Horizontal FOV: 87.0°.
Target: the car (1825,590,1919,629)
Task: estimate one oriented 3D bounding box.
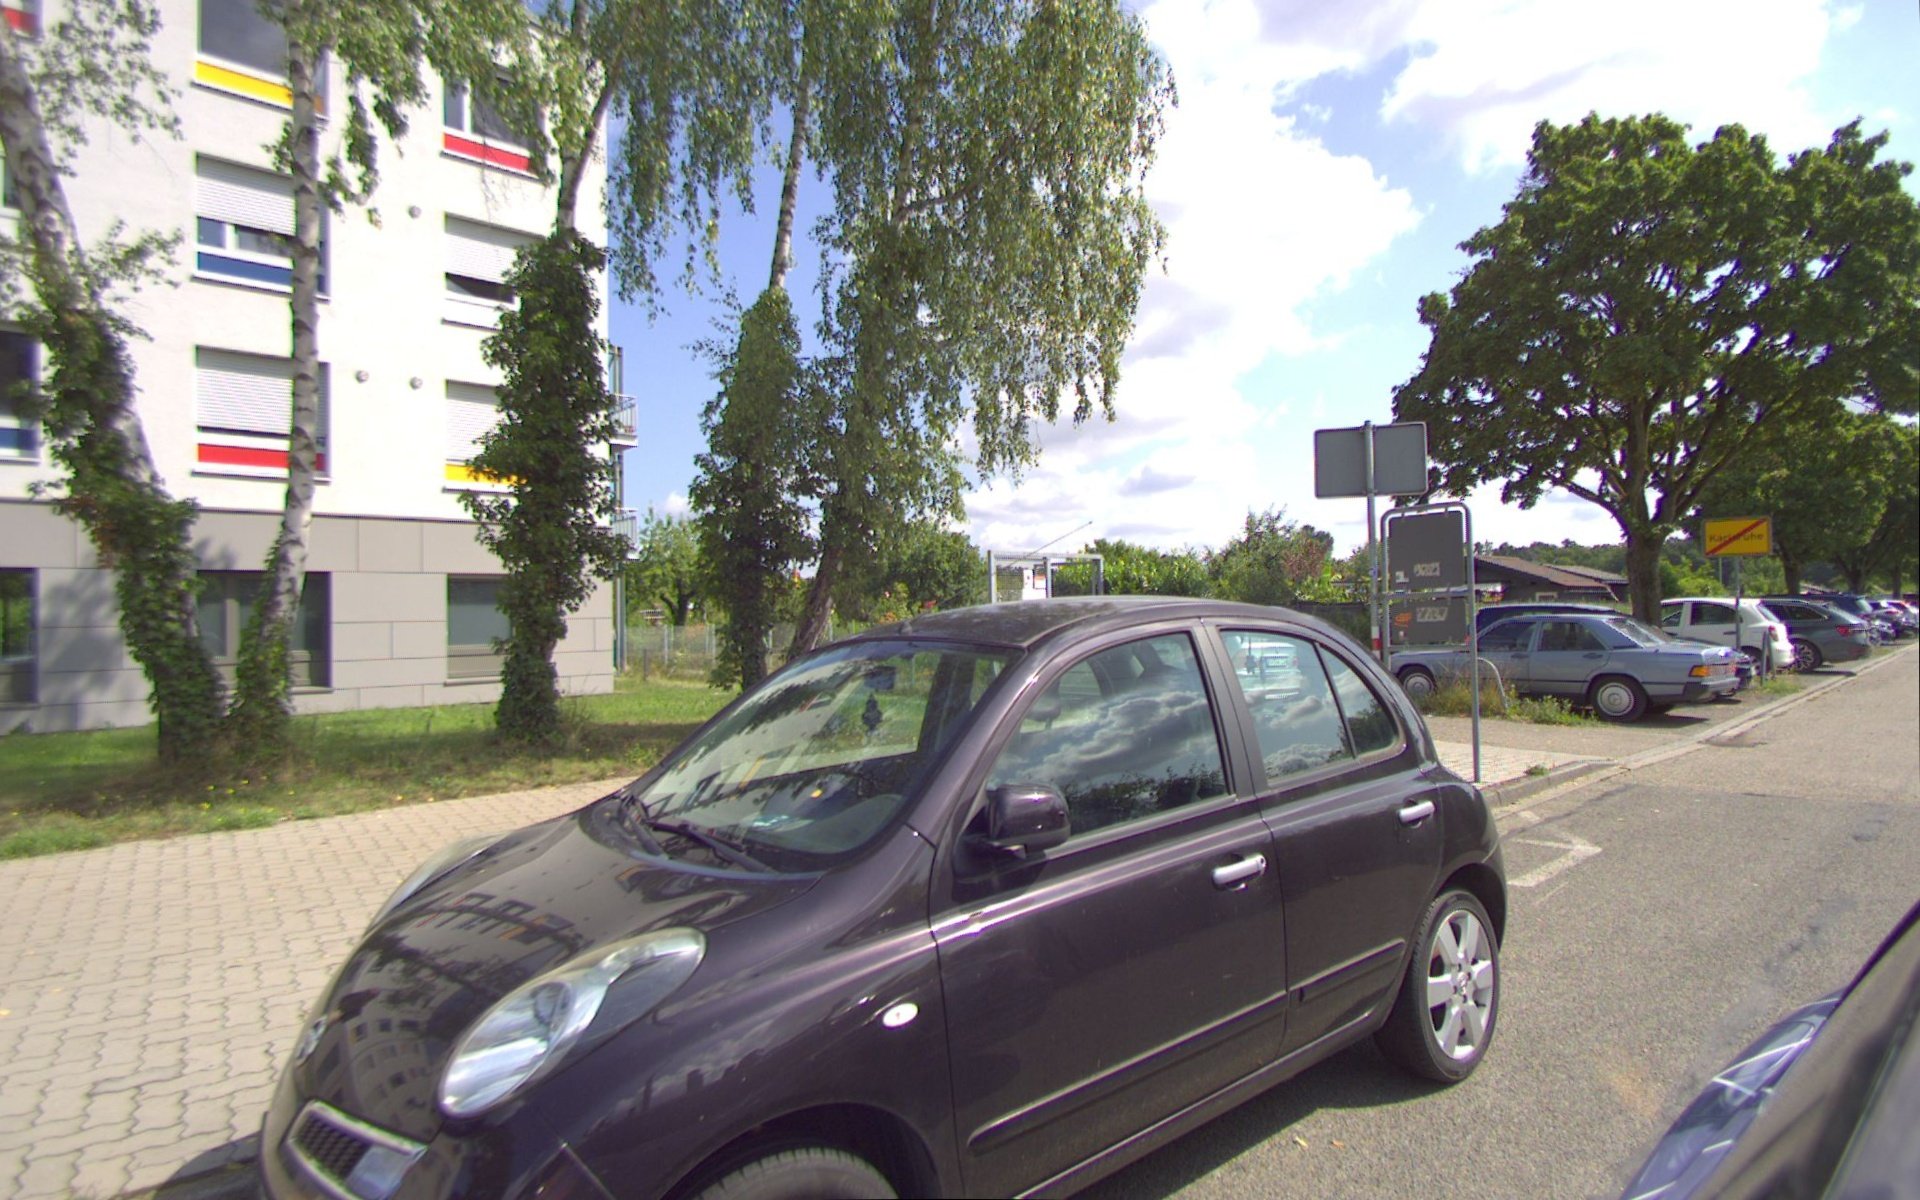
[{"bbox_3d":[38.461,0.362,41.705,1.839,1.474,4.067,-1,-2,-44],"label":"car"}]

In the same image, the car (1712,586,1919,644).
[{"bbox_3d":[24.767,0.465,29.404,1.942,1.511,4.339,-1,-2,-42],"label":"car"}]

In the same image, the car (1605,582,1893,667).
[{"bbox_3d":[16.420,0.557,21.247,4.548,1.599,1.780,-4,-2,45],"label":"car"}]

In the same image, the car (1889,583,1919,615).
[{"bbox_3d":[59.486,-0.083,61.282,2.076,1.910,4.638,0,0,-43],"label":"car"}]

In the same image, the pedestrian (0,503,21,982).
[{"bbox_3d":[-3.825,0.523,3.501,0.707,1.768,0.613,-1,-2,-29],"label":"pedestrian"}]

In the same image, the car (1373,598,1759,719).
[{"bbox_3d":[8.330,0.716,14.302,1.687,1.409,4.369,-1,0,-38],"label":"car"}]

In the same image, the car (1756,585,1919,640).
[{"bbox_3d":[28.852,0.420,32.951,1.966,1.614,4.306,-1,-2,-42],"label":"car"}]

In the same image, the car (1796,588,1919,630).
[{"bbox_3d":[35.676,0.356,39.710,1.923,1.531,4.072,-1,-2,-39],"label":"car"}]

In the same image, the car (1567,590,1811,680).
[{"bbox_3d":[14.079,0.688,19.663,1.640,1.569,3.574,-1,-2,-45],"label":"car"}]

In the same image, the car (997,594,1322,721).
[{"bbox_3d":[2.613,0.665,14.051,1.729,1.448,4.246,-1,1,-42],"label":"car"}]

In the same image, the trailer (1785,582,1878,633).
[{"bbox_3d":[32.174,0.302,37.396,2.449,1.743,1.494,-4,-3,45],"label":"trailer"}]

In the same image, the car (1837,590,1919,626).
[{"bbox_3d":[43.079,0.345,46.423,1.821,1.539,3.995,-1,-2,-38],"label":"car"}]

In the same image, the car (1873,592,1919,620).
[{"bbox_3d":[53.821,0.281,56.339,1.845,1.524,4.189,-1,-2,-41],"label":"car"}]

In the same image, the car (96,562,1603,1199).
[{"bbox_3d":[0.124,0.722,2.962,3.927,1.525,1.667,-1,-2,-38],"label":"car"}]

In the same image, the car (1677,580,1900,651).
[{"bbox_3d":[21.146,0.376,25.952,1.846,1.658,4.161,-1,0,-40],"label":"car"}]

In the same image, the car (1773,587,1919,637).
[{"bbox_3d":[30.592,0.417,34.908,1.820,1.560,3.724,-1,-2,-45],"label":"car"}]

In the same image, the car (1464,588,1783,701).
[{"bbox_3d":[10.589,0.705,16.352,1.837,1.579,3.935,-1,-2,-43],"label":"car"}]
